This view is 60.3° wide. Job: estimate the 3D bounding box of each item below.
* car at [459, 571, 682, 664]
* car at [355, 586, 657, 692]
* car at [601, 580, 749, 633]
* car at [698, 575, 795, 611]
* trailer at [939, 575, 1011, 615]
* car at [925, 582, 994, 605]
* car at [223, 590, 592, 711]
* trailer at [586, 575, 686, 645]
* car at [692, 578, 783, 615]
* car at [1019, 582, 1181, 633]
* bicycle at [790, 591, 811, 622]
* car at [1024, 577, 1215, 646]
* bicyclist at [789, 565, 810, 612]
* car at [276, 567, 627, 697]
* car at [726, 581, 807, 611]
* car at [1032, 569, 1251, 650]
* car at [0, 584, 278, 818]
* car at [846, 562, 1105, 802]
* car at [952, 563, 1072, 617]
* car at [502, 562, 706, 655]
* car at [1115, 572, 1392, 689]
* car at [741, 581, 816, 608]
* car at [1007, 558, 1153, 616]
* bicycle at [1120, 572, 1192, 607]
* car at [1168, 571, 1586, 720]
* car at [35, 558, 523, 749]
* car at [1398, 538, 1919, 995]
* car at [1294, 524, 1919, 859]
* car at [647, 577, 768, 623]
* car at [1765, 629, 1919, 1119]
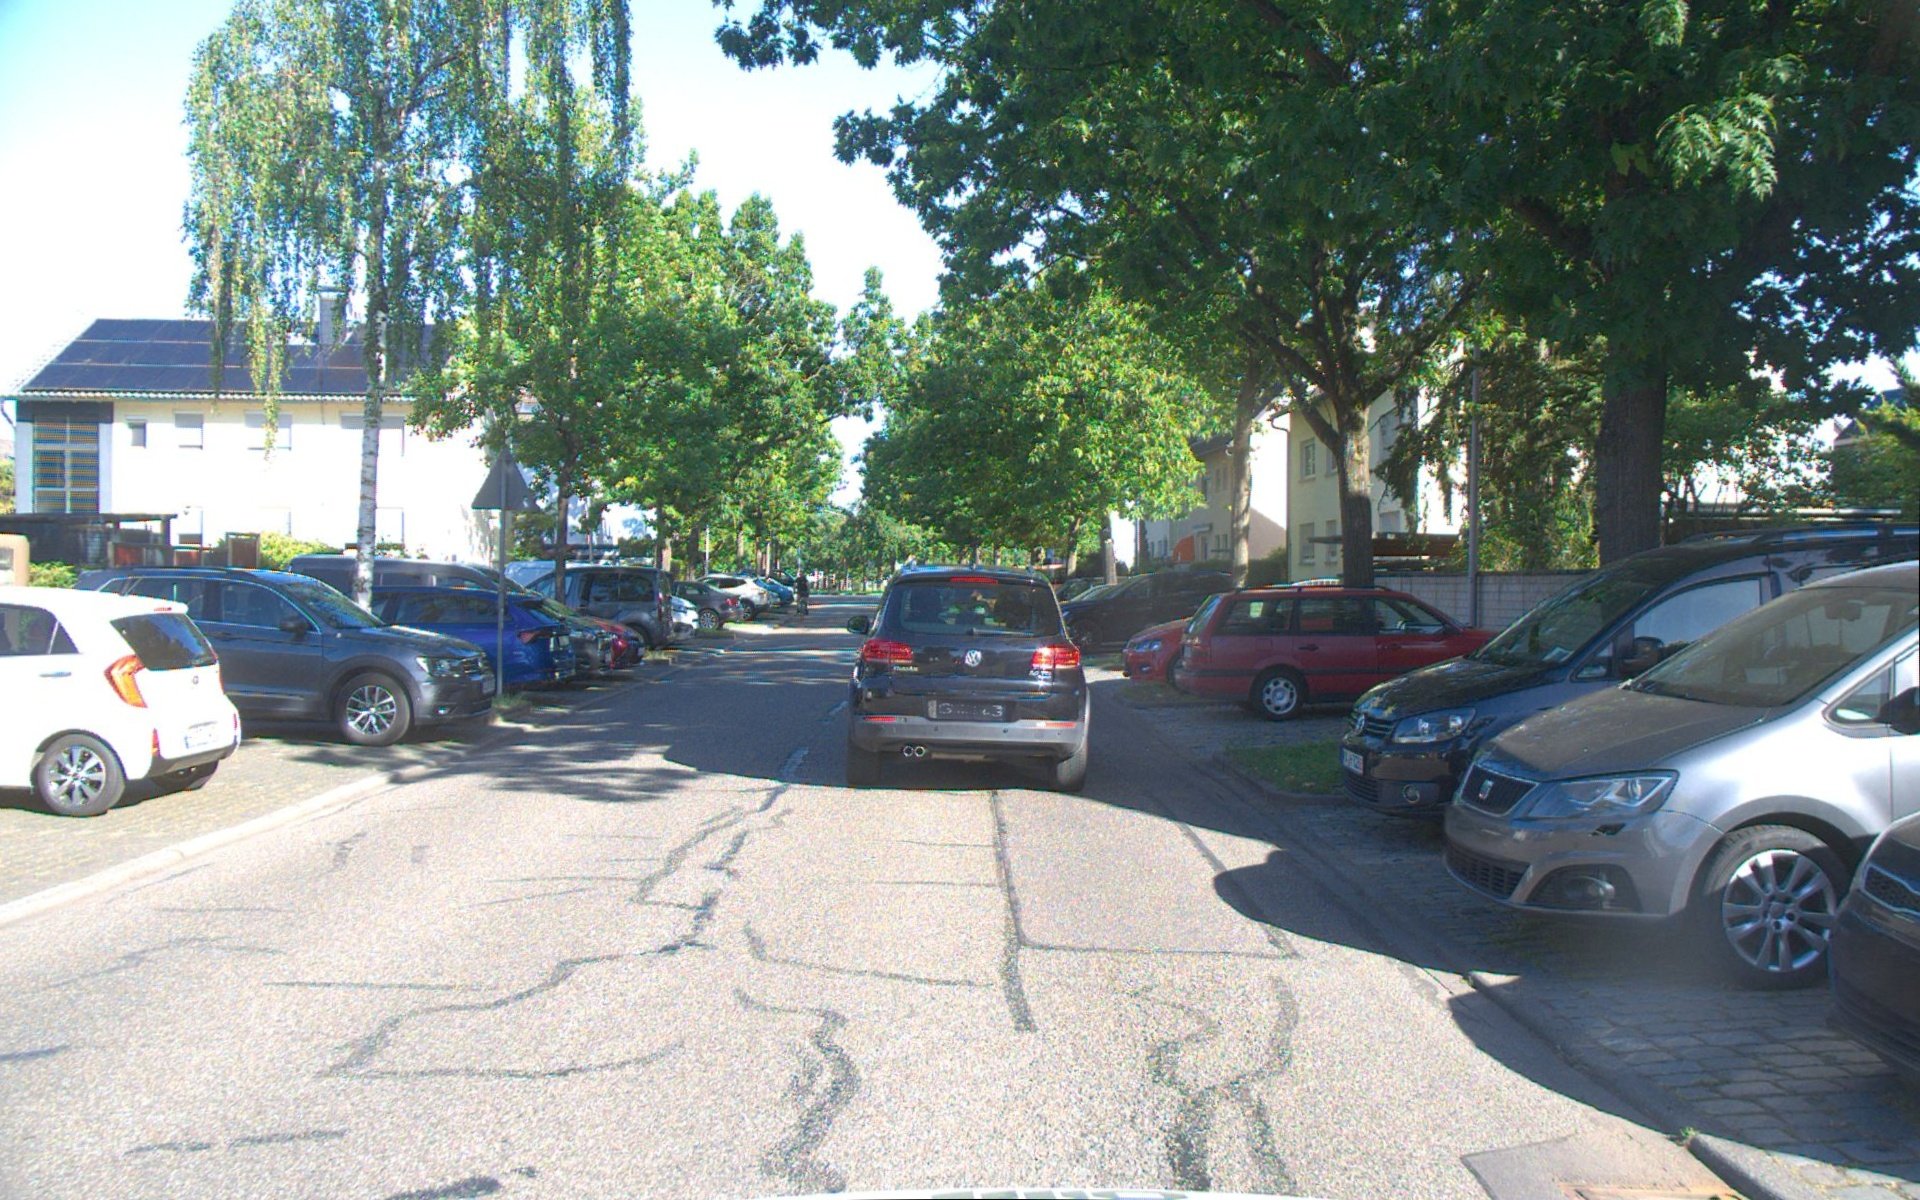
[{"bbox_3d":[-7.881,0.332,33.801,4.156,1.801,1.965,0,0,-5],"label":"car"},{"bbox_3d":[-7.199,0.595,26.606,4.389,1.526,1.835,-1,1,-5],"label":"car"},{"bbox_3d":[-8.379,0.171,48.856,4.126,1.497,1.689,0,0,-4],"label":"car"},{"bbox_3d":[-10.145,-0.332,78.851,4.434,1.659,1.936,0,0,-4],"label":"car"},{"bbox_3d":[0.647,-0.232,71.472,2.891,1.693,1.611,0,0,-10],"label":"trailer"},{"bbox_3d":[-0.057,-0.420,105.156,4.261,1.386,1.872,0,1,-5],"label":"car"},{"bbox_3d":[-7.038,0.623,21.360,4.184,1.449,1.724,0,1,0],"label":"car"},{"bbox_3d":[-8.124,0.236,41.636,2.189,1.703,1.475,0,0,1],"label":"trailer"},{"bbox_3d":[-9.956,-0.169,74.288,3.908,1.623,1.856,0,0,-4],"label":"car"},{"bbox_3d":[3.851,0.198,45.998,4.338,1.354,1.690,0,0,-2],"label":"car"},{"bbox_3d":[-5.867,0.232,60.858,0.584,1.076,1.986,-3,1,-2],"label":"bicycle"},{"bbox_3d":[3.686,0.246,38.707,4.234,1.556,1.839,0,0,-4],"label":"car"},{"bbox_3d":[-5.906,-0.426,60.857,0.584,1.703,0.975,-3,1,-2],"label":"bicyclist"},{"bbox_3d":[-7.340,0.437,24.221,4.580,1.799,1.794,0,0,-3],"label":"car"},{"bbox_3d":[-9.990,-0.231,85.630,4.099,1.518,1.646,0,0,-4],"label":"car"},{"bbox_3d":[3.872,0.185,35.757,4.482,1.675,1.837,0,0,-3],"label":"car"},{"bbox_3d":[-7.229,0.667,11.841,3.919,1.541,1.795,0,0,-1],"label":"car"},{"bbox_3d":[0.061,0.548,13.526,1.801,1.665,3.957,0,1,-2],"label":"car"},{"bbox_3d":[2.068,-0.412,67.257,4.723,2.120,2.085,0,0,-4],"label":"car"},{"bbox_3d":[-7.778,0.166,36.460,4.154,1.978,1.998,0,0,-6],"label":"car"},{"bbox_3d":[4.243,0.430,24.299,3.701,1.510,1.755,-2,0,-1],"label":"car"},{"bbox_3d":[-10.481,-0.323,95.720,4.191,1.504,1.767,0,0,-4],"label":"car"},{"bbox_3d":[3.697,-0.417,51.264,4.252,1.587,1.866,-2,1,-4],"label":"car"},{"bbox_3d":[7.884,-0.424,66.433,2.801,1.258,0.468,-2,0,-3],"label":"bicycle"},{"bbox_3d":[4.810,0.500,19.499,4.412,1.471,1.838,-3,1,-1],"label":"car"},{"bbox_3d":[-6.708,0.488,16.616,4.124,1.754,1.761,-1,1,-1],"label":"car"},{"bbox_3d":[4.468,0.571,7.462,4.414,1.708,1.878,-2,1,-4],"label":"car"},{"bbox_3d":[4.427,0.506,10.573,4.129,1.813,1.788,-2,0,-4],"label":"car"},{"bbox_3d":[-9.017,-0.007,59.323,4.103,1.594,1.791,0,0,-2],"label":"car"},{"bbox_3d":[4.694,0.740,4.812,3.865,1.385,1.683,-2,0,-2],"label":"car"}]
